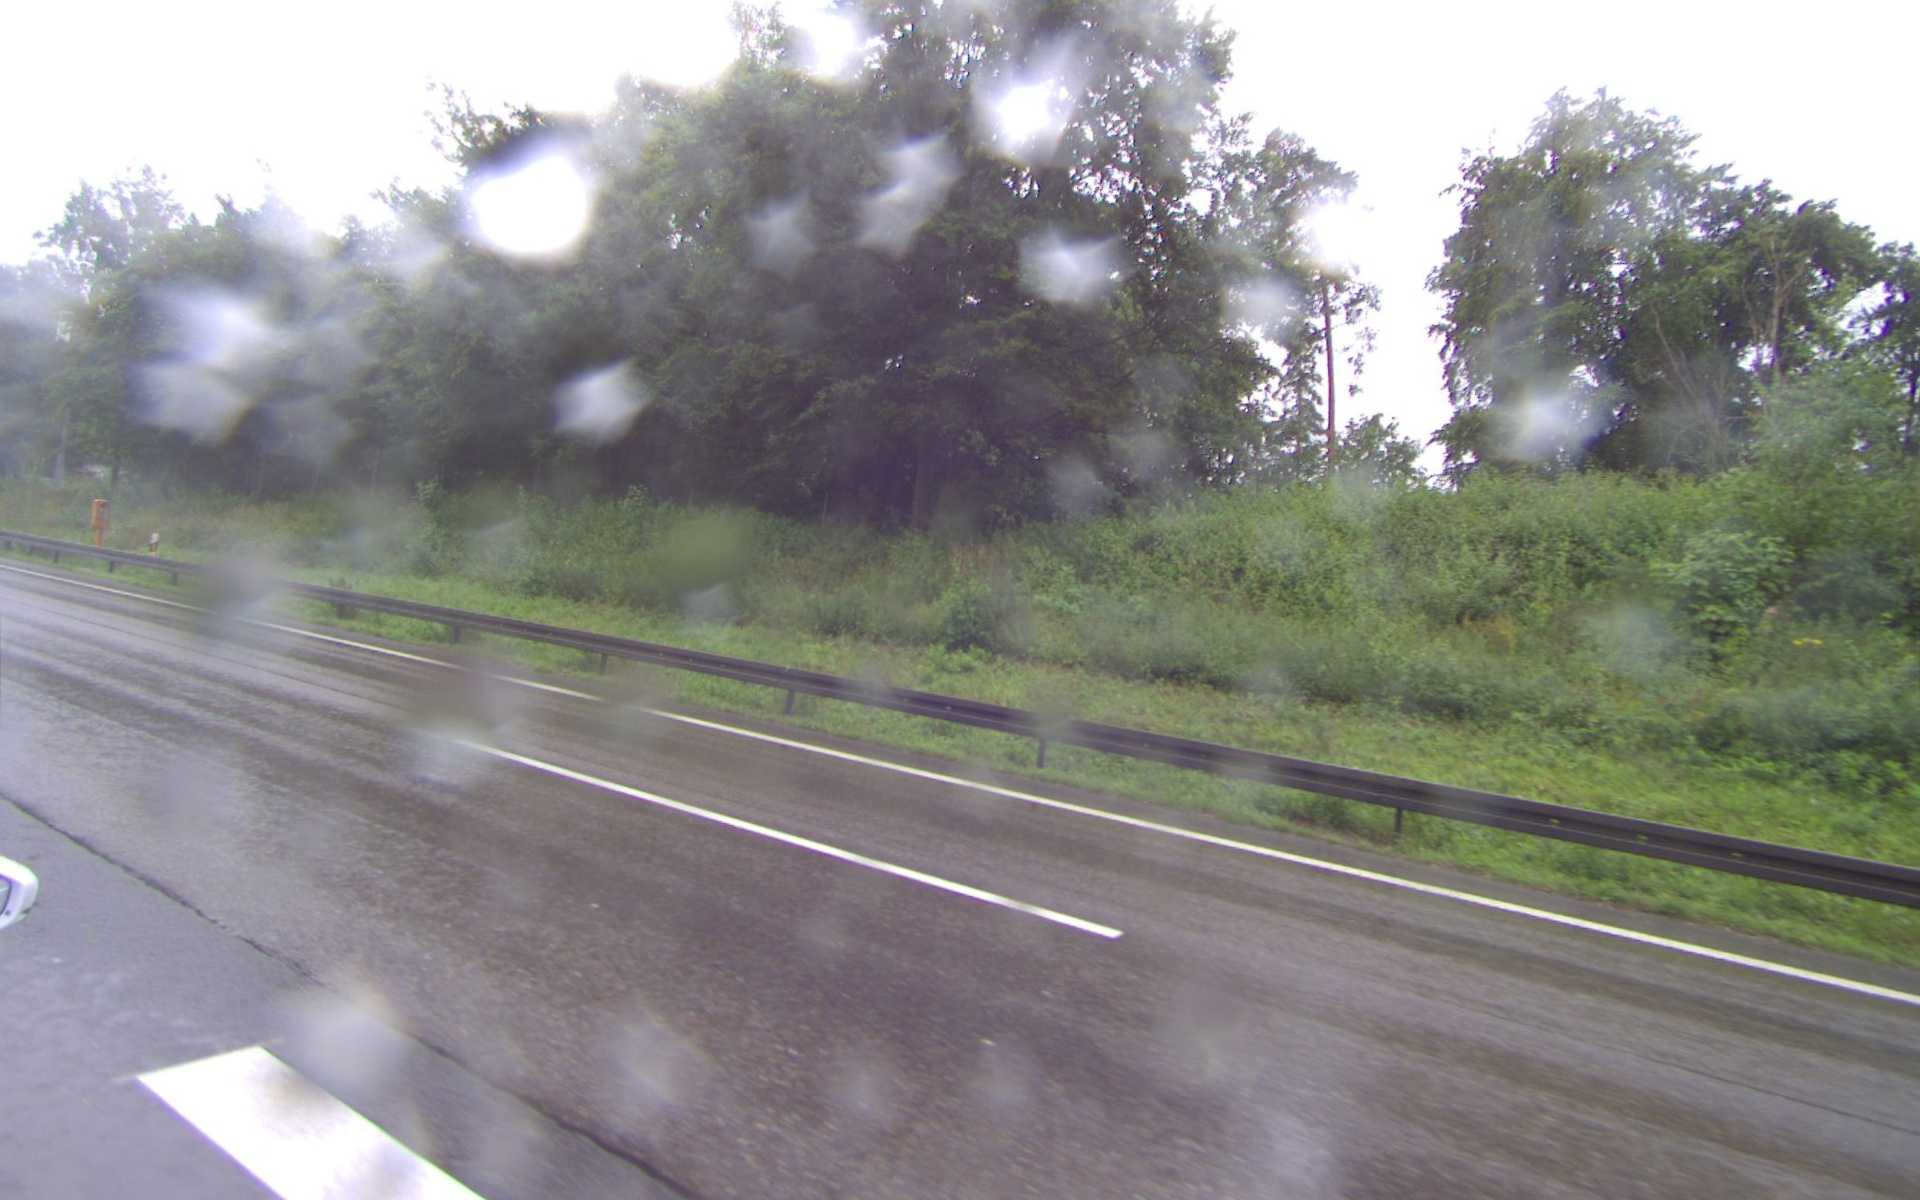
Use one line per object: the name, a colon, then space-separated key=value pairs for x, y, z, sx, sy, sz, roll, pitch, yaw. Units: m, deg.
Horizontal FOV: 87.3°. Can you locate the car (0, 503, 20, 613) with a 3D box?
car: x=-14.814 y=-0.863 z=13.444 sx=4.491 sy=1.410 sz=2.011 roll=7 pitch=-2 yaw=31
